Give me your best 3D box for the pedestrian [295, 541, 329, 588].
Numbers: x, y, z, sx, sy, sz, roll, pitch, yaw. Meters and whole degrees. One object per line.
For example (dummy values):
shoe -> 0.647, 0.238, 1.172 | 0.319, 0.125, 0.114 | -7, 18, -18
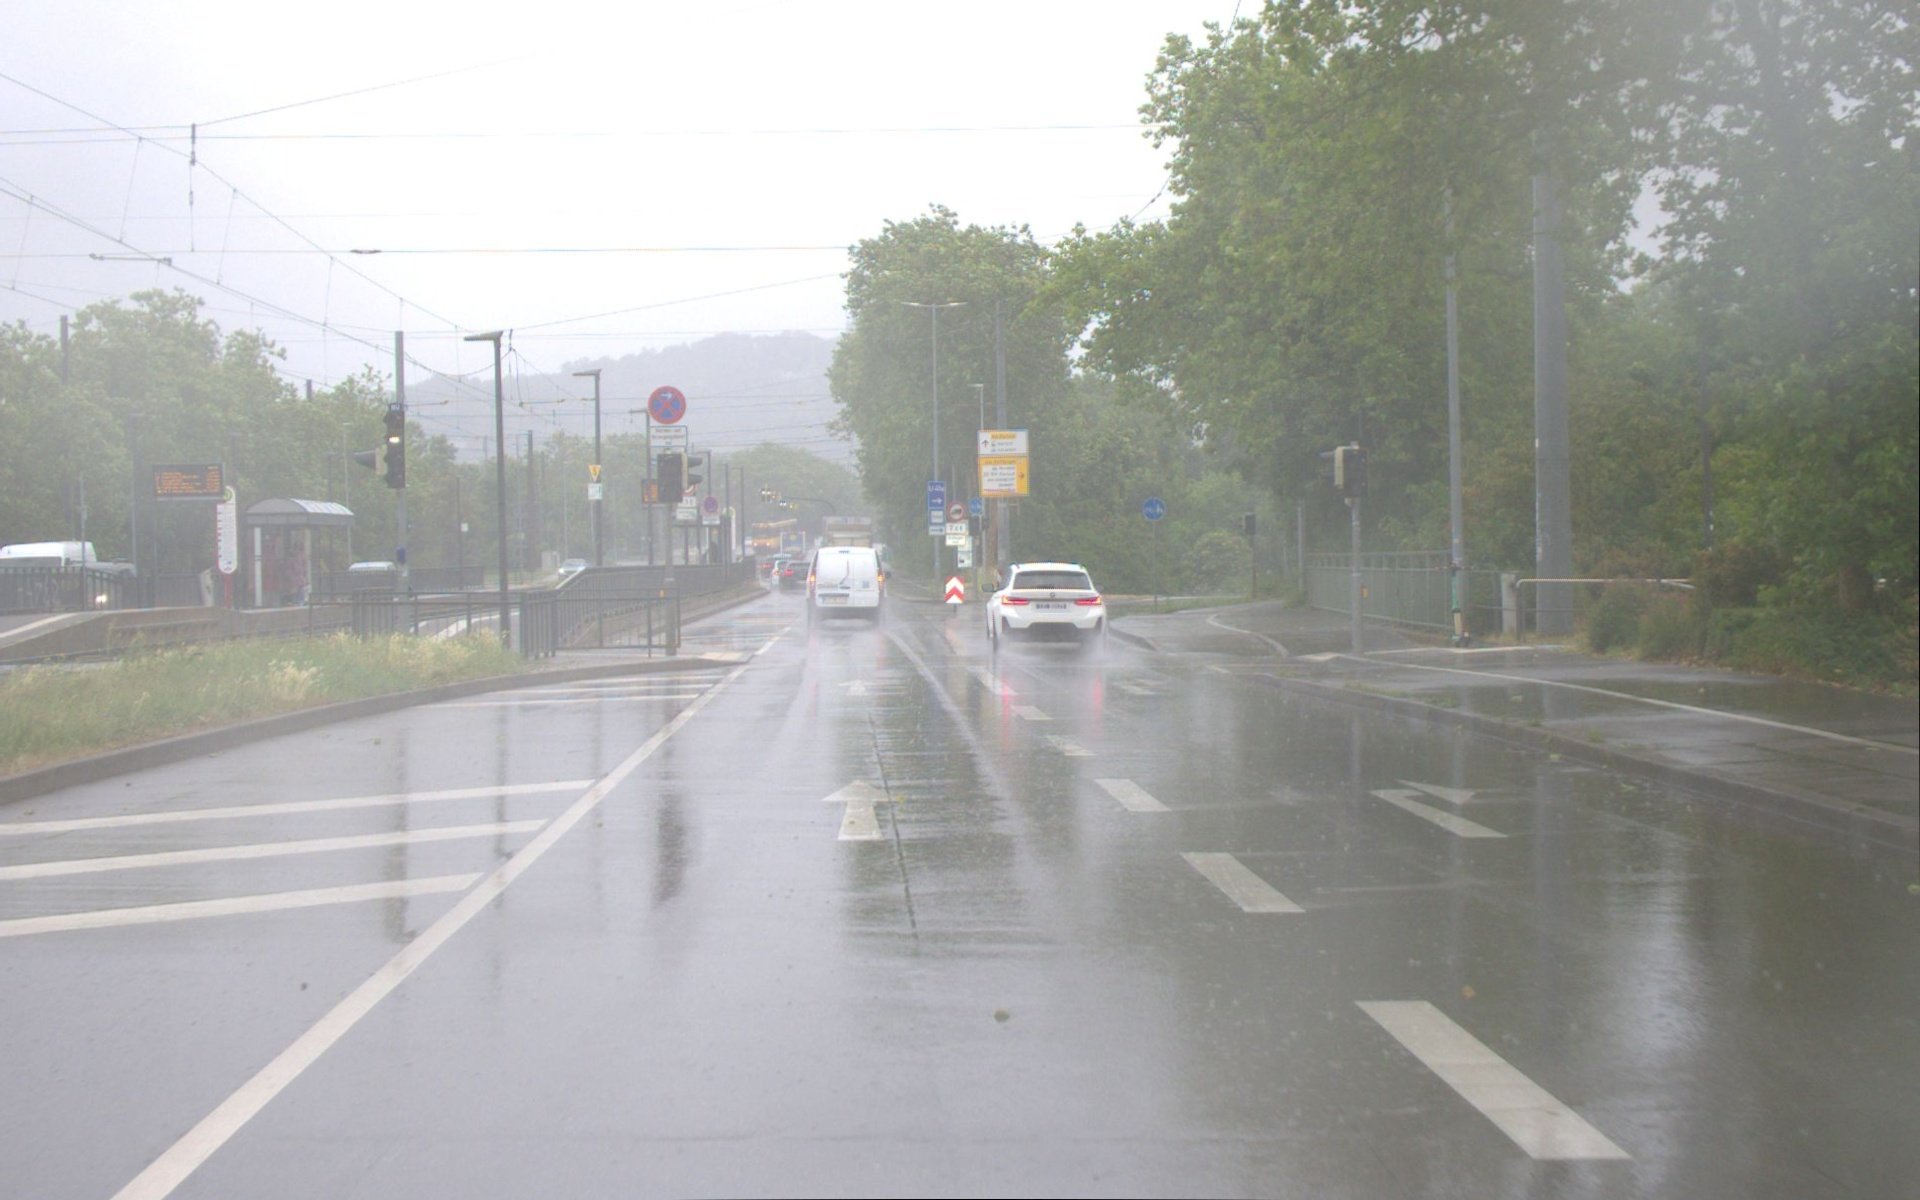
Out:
pedestrian -> -18.449, -1.013, 97.856 | 0.831, 1.312, 0.858 | 1, 1, -1

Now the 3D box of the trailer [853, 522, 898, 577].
trailer -> -4.257, -2.523, 174.059 | 2.166, 2.748, 5.677 | 0, 0, 0

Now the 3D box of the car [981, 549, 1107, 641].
car -> 1.346, -0.111, 56.365 | 1.888, 1.426, 4.000 | 0, 1, -1

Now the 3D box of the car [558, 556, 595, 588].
car -> -24.729, -1.811, 221.694 | 1.993, 2.007, 4.000 | 0, 0, -1

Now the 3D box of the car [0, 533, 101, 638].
car -> -24.588, -0.426, 91.595 | 2.119, 2.703, 5.739 | 0, 1, -1

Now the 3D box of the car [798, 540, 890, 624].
car -> -2.638, -0.425, 77.609 | 1.993, 1.842, 4.001 | 0, 1, -3

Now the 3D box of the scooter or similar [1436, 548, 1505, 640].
scooter or similar -> 7.290, -0.096, 49.136 | 0.759, 1.288, 1.647 | 0, 0, 1

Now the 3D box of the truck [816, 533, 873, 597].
truck -> -6.945, -2.077, 205.416 | 2.775, 3.691, 9.854 | 0, 0, -6
